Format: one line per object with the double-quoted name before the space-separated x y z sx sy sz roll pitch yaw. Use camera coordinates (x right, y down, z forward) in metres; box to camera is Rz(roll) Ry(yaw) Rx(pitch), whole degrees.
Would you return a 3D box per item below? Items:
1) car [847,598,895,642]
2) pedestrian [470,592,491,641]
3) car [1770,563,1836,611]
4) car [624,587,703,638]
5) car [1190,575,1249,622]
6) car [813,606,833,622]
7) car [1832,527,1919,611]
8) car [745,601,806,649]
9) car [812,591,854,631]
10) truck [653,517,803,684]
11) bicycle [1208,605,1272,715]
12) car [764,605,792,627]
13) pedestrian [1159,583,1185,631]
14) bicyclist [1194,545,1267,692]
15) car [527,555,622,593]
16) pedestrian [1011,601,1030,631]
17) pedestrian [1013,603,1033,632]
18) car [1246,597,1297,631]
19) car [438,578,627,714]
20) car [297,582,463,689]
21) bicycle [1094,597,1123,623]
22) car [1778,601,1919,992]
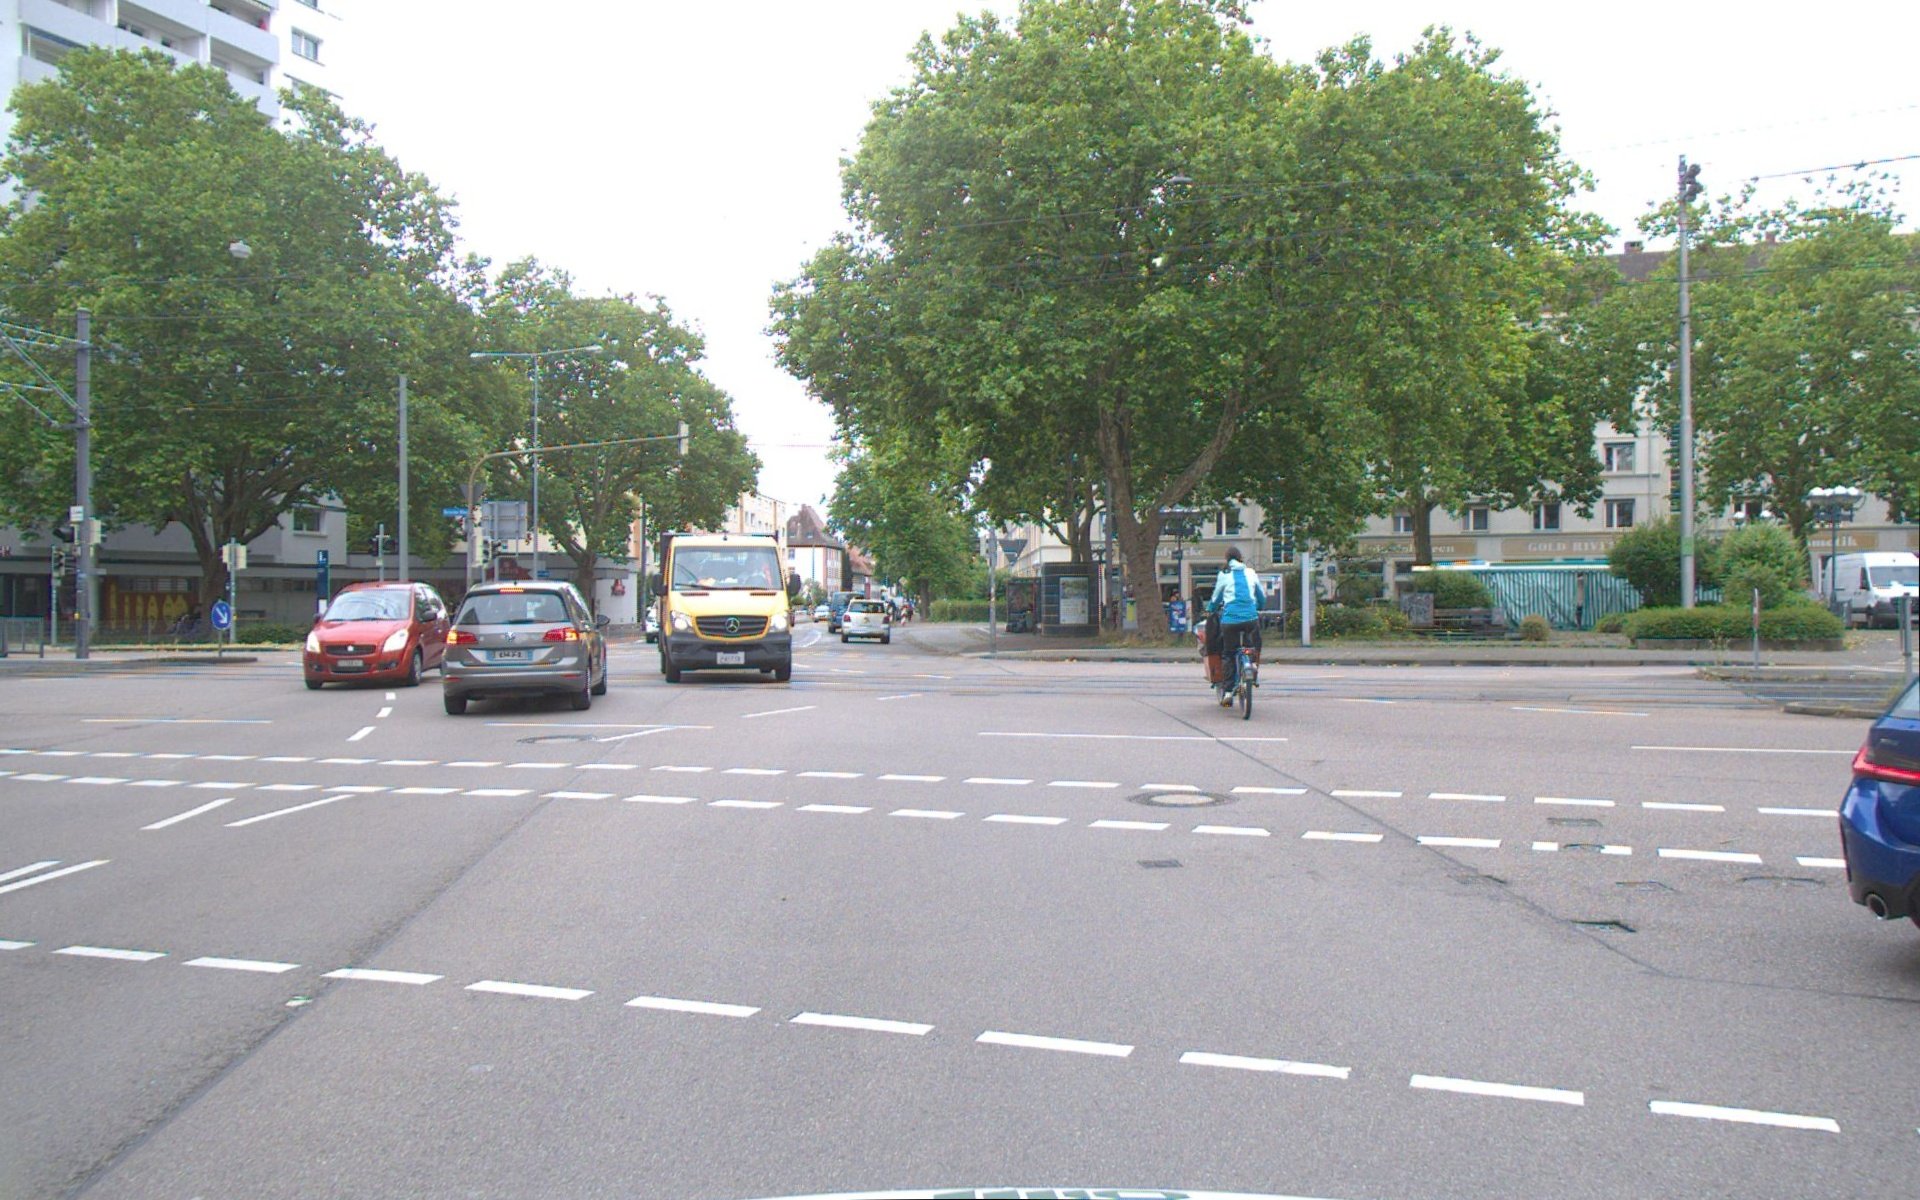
"car" -3.430 0.734 63.219 1.779 1.620 3.997 -1 0 -4
"pedestrian" -18.005 0.611 62.065 0.562 1.816 0.620 -1 0 4
"car" 28.520 -0.432 56.052 1.630 1.542 3.938 -1 0 22
"car" -11.317 0.462 63.467 1.828 1.858 5.227 -1 0 3
"car" 12.764 -0.054 81.159 2.129 2.239 4.001 -1 0 20
"car" -13.211 1.302 159.556 1.732 1.512 3.997 -1 0 -3
"car" 31.326 -1.018 55.937 2.188 2.685 5.450 -1 0 16
"car" -5.885 0.768 53.173 1.773 1.452 4.313 -1 0 -4
"car" -6.238 0.502 81.125 1.955 1.880 3.995 -1 0 -5
"truck" -3.935 -0.010 27.297 2.038 2.450 5.446 -1 0 -12
"bicycle" 3.078 0.629 18.316 0.483 1.117 2.140 -1 0 4
"car" -12.885 1.107 117.387 1.816 1.478 4.164 0 0 -4
"pedestrian" 8.007 0.270 62.408 0.768 1.774 0.924 -1 0 -5
"bicyclist" 2.941 0.196 18.045 0.671 1.544 1.059 -1 0 4
"car" -18.149 -1.202 77.887 3.950 1.736 1.977 0 -1 -33
"pedestrian" 2.806 0.746 76.867 0.801 1.396 0.762 -1 0 -4
"pedestrian" 2.883 0.790 75.814 0.836 1.337 0.762 -1 0 -4
"car" 15.107 0.658 80.147 1.759 1.570 3.827 -1 0 21
"car" -5.367 0.524 21.213 1.699 1.551 3.995 -1 0 -5
"car" -9.169 0.521 26.453 1.700 1.551 3.993 -1 0 -7
"bicycle" 7.039 0.457 78.360 0.762 1.188 2.333 -1 0 21
"car" 5.567 0.699 6.749 4.253 1.430 1.806 -1 0 -26
